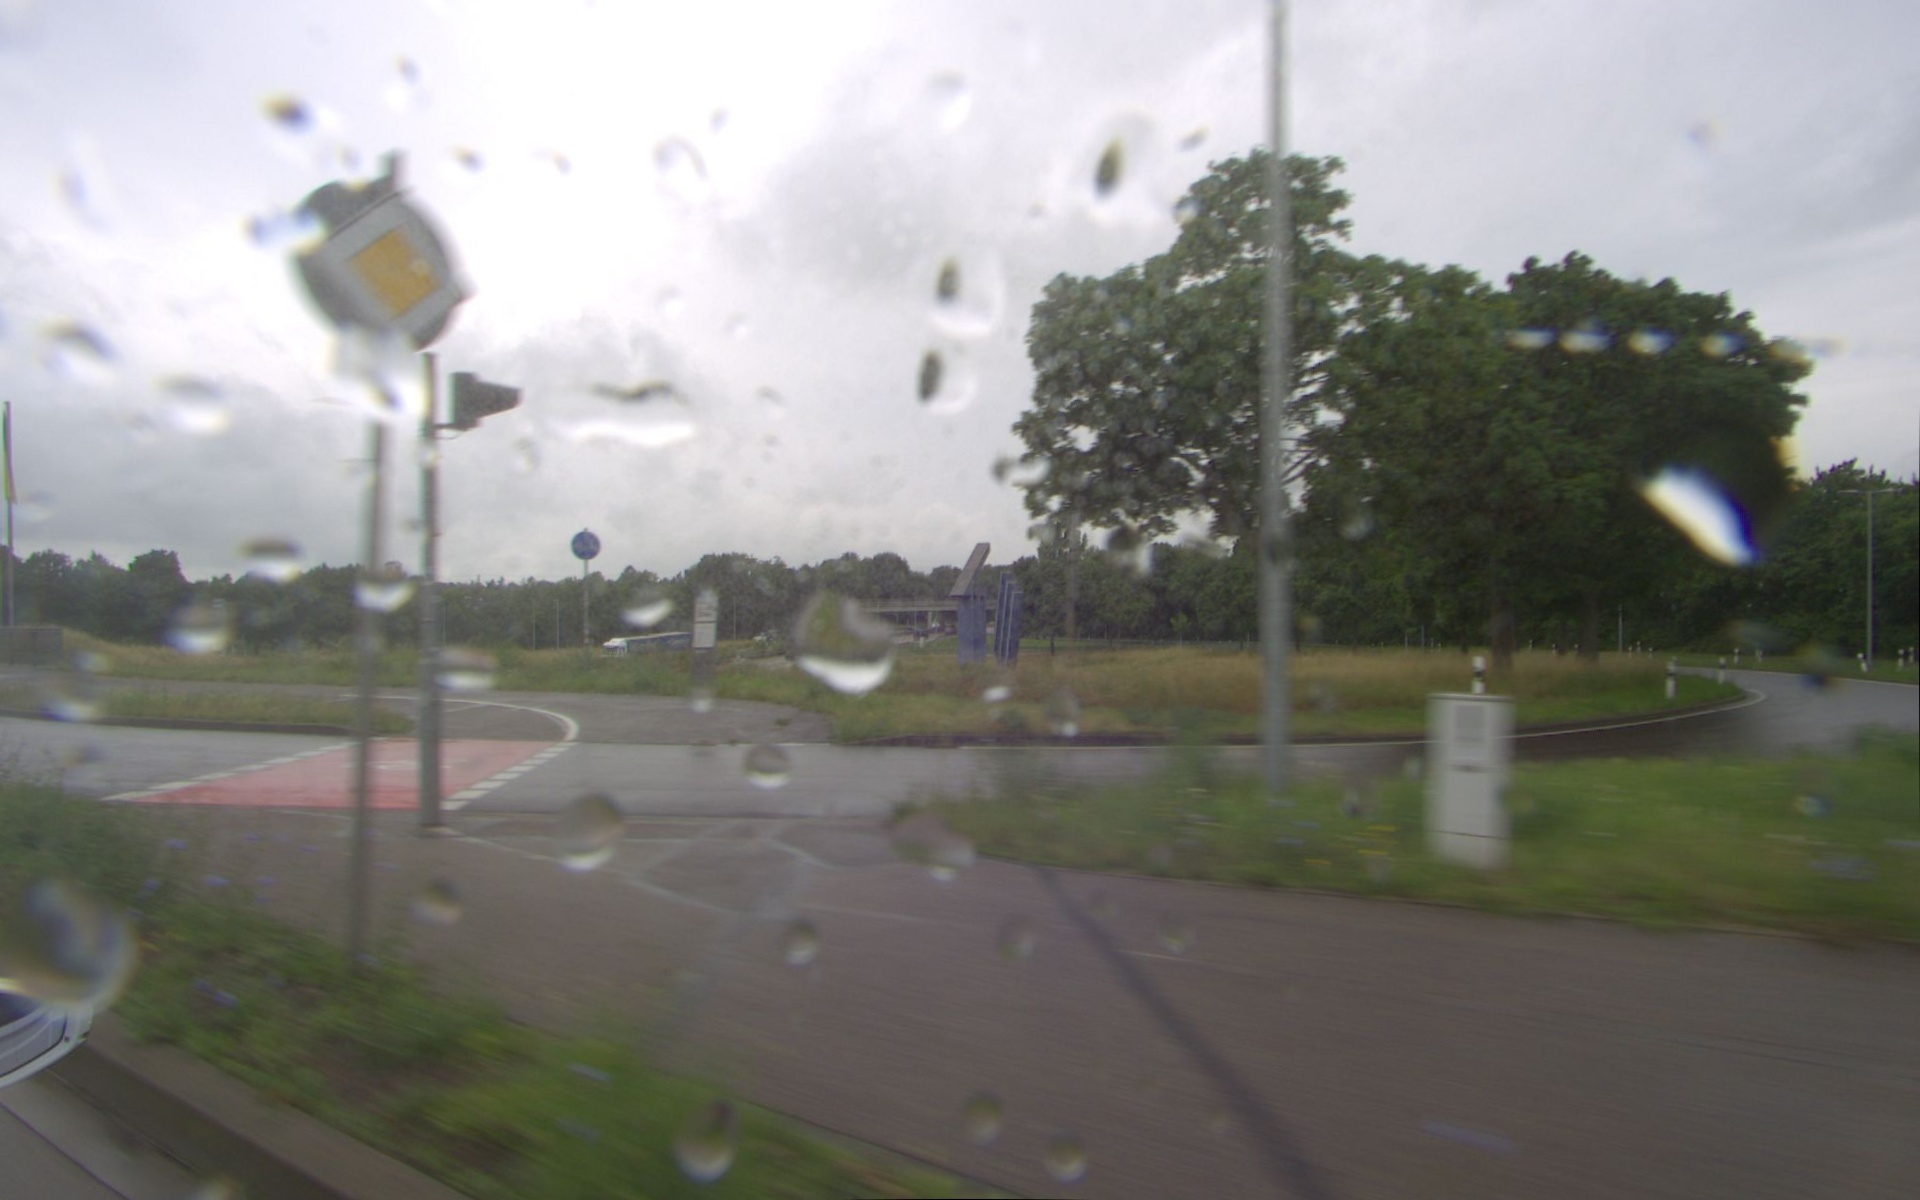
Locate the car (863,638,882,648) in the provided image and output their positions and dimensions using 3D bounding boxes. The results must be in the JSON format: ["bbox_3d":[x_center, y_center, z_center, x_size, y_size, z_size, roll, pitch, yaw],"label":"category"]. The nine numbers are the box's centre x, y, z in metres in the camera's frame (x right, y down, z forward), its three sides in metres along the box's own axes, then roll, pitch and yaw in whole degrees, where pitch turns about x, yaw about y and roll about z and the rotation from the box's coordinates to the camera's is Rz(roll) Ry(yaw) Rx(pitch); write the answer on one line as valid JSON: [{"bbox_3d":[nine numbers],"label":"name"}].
[{"bbox_3d":[-15.000,7.368,172.200,1.964,1.613,3.995,0,-1,17],"label":"car"}]

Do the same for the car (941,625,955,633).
[{"bbox_3d":[-2.543,6.321,217.607,1.964,1.613,3.995,0,-1,17],"label":"car"}]

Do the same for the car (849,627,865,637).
[{"bbox_3d":[-21.653,6.663,210.515,1.963,1.976,3.996,0,-1,15],"label":"car"}]

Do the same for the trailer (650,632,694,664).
[{"bbox_3d":[-39.821,6.588,138.694,2.521,4.357,7.368,0,-1,13],"label":"trailer"}]

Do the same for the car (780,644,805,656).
[{"bbox_3d":[-24.436,7.323,146.134,1.964,1.613,3.995,0,-1,17],"label":"car"}]

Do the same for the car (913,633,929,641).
[{"bbox_3d":[-7.665,7.321,199.053,1.964,1.613,3.995,0,-1,17],"label":"car"}]

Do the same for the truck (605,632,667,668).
[{"bbox_3d":[-41.825,6.391,129.745,2.521,4.357,10.938,0,-1,13],"label":"truck"}]

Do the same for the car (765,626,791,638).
[{"bbox_3d":[-31.127,5.410,171.536,2.256,1.990,5.615,0,-1,14],"label":"car"}]

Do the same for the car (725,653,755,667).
[{"bbox_3d":[-27.399,7.429,124.694,1.964,1.613,3.995,0,-1,17],"label":"car"}]
